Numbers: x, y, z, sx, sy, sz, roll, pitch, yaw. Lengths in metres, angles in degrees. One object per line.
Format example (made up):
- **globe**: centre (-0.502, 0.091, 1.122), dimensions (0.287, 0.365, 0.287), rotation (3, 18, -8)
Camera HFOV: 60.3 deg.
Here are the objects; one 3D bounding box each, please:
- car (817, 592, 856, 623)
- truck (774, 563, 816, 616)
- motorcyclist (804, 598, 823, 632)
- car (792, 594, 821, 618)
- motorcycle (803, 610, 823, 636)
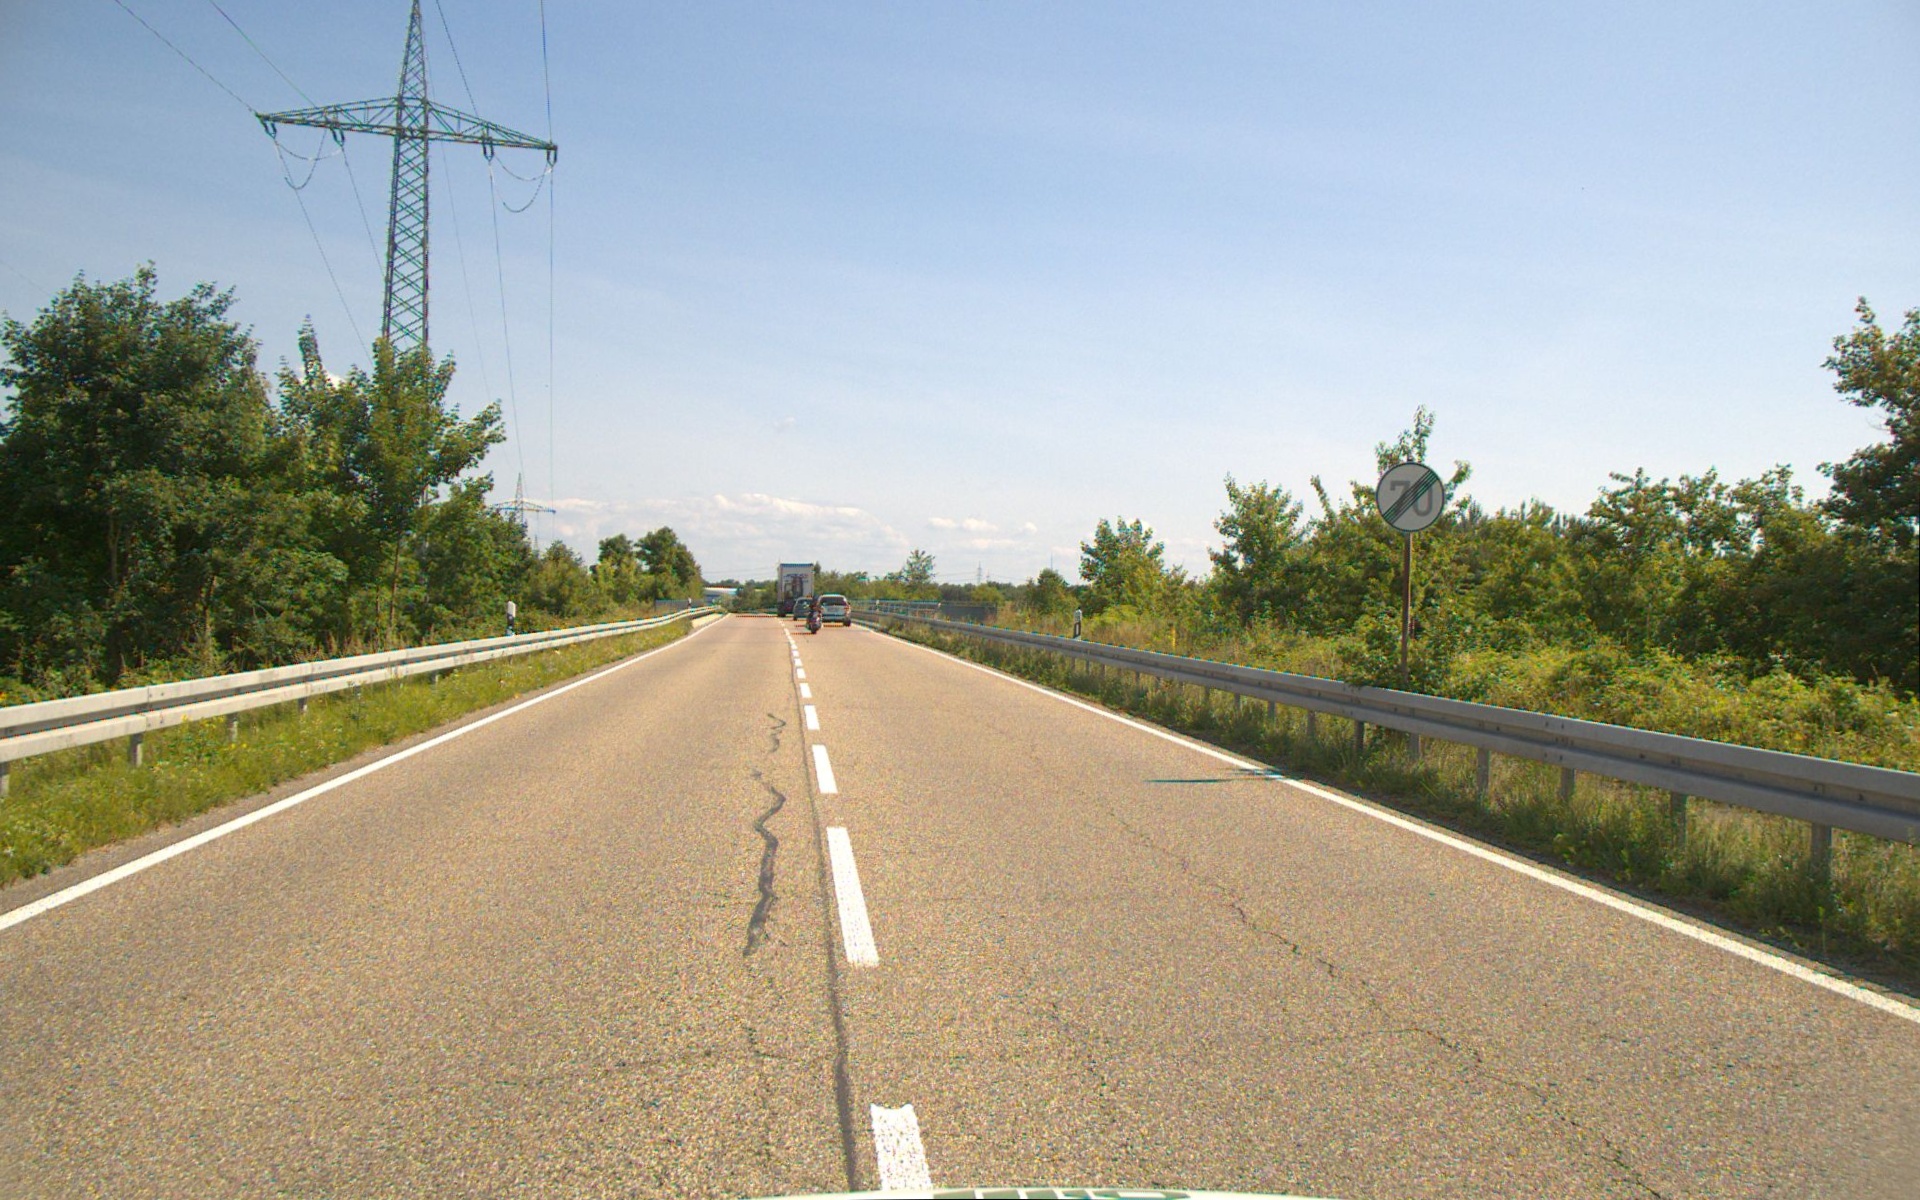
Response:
- **car**: centre (-6.208, 0.344, 82.966), dimensions (1.790, 1.477, 3.995), rotation (1, 0, -6)
- **truck**: centre (-13.123, -0.824, 131.482), dimensions (3.179, 4.048, 9.431), rotation (1, 0, -6)
- **motorcyclist**: centre (-6.011, 0.610, 67.805), dimensions (0.765, 1.349, 0.812), rotation (1, 0, -6)
- **car**: centre (-9.968, 0.366, 107.124), dimensions (1.830, 1.445, 3.995), rotation (1, 0, -6)
- **motorcycle**: centre (-6.023, 0.940, 67.785), dimensions (0.765, 0.992, 2.359), rotation (1, 0, -5)
